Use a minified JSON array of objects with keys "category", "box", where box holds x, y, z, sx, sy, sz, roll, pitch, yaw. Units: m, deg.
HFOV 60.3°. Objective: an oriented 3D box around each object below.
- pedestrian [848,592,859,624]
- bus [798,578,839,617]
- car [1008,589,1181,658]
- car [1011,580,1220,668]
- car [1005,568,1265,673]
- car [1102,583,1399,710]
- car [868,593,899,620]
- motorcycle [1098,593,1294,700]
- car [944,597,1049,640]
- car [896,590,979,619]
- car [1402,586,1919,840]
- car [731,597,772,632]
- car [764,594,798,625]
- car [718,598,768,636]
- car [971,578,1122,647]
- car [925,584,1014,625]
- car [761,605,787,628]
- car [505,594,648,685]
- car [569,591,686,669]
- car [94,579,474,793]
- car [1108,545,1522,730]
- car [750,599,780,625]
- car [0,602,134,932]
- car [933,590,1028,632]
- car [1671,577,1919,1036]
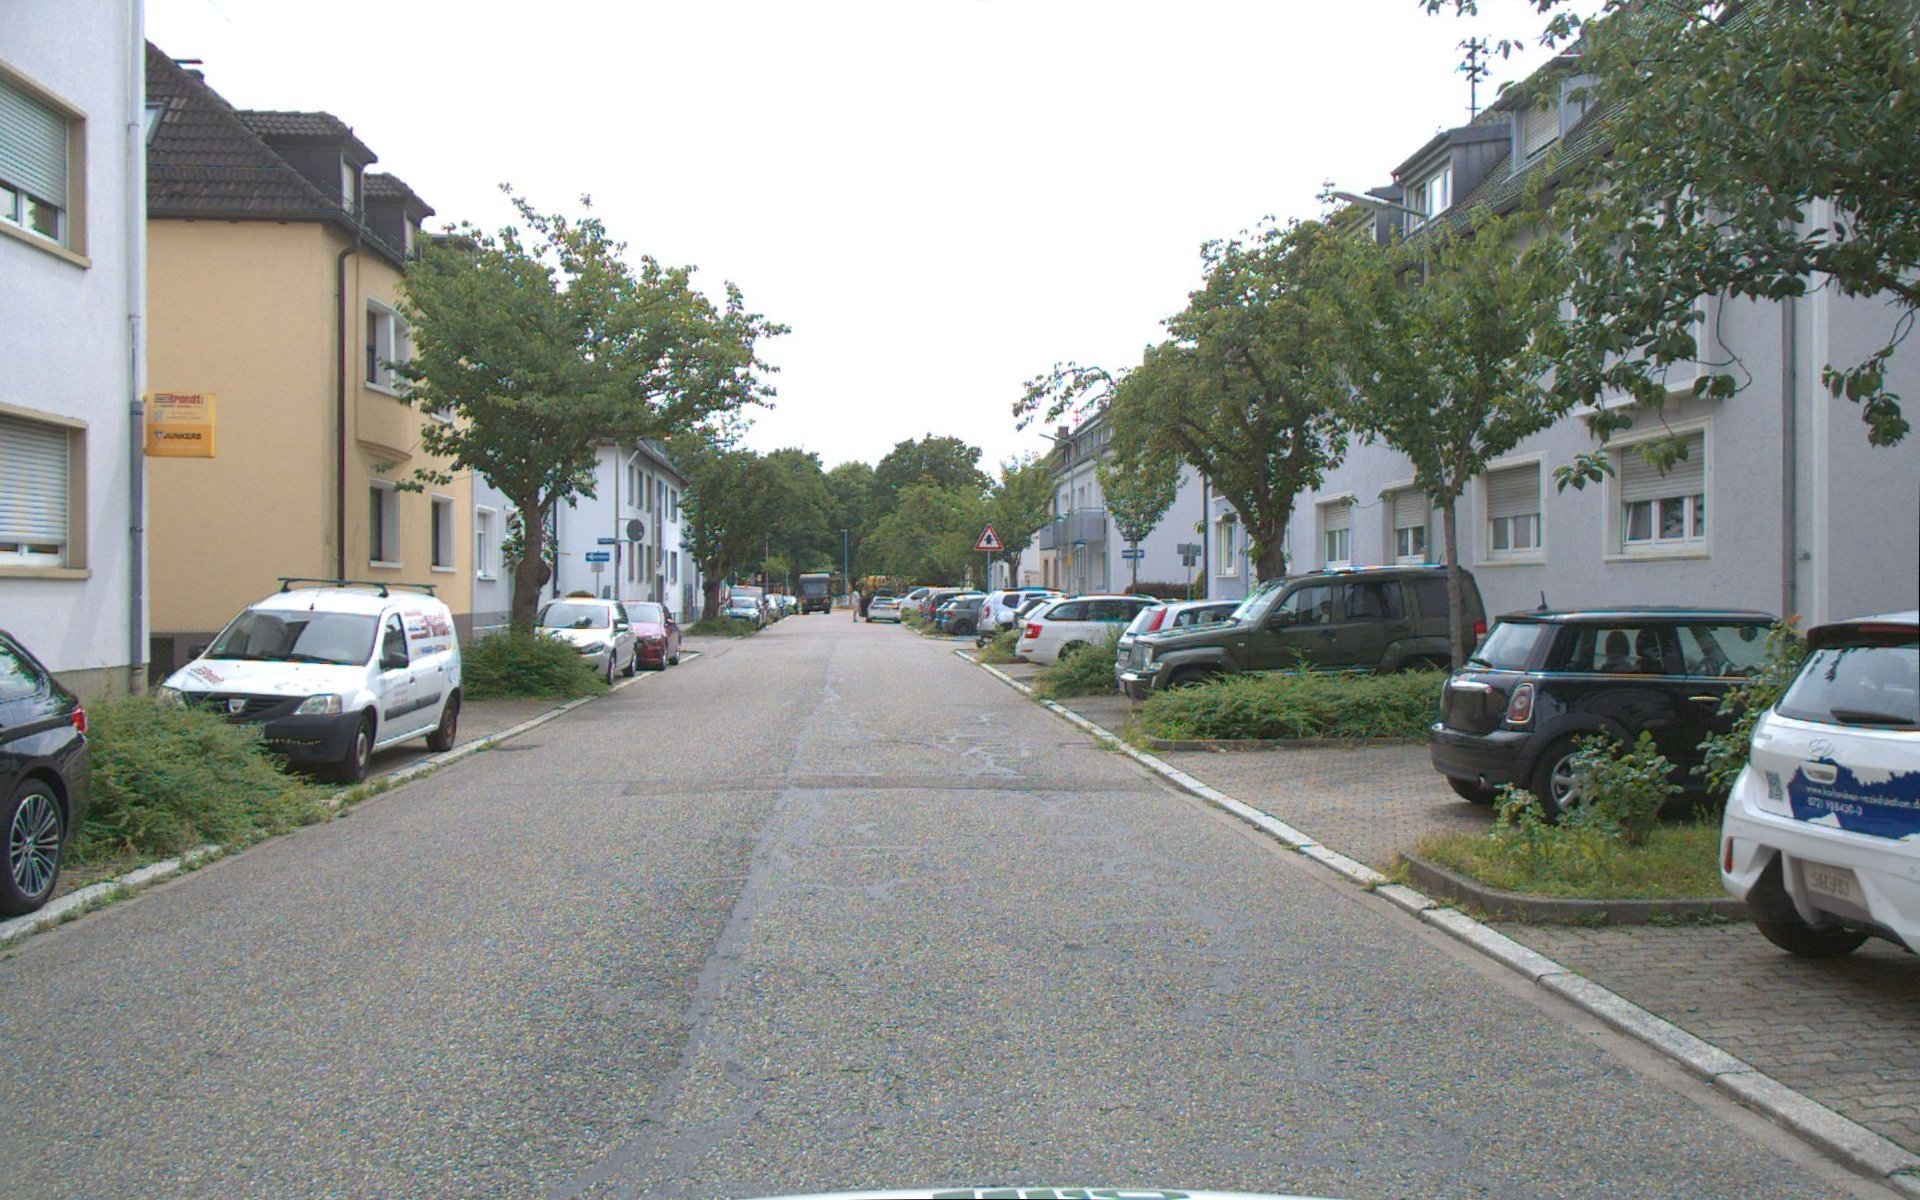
[{"category":"pedestrian","box":[-5.853,0.448,91.022,0.511,1.734,0.444,-2,0,0]},{"category":"bus","box":[-11.100,-0.184,130.607,2.945,2.809,8.917,-2,0,-4]},{"category":"car","box":[3.213,0.551,39.984,3.908,1.446,1.711,-2,0,-4]},{"category":"car","box":[3.079,0.466,33.193,3.908,1.534,1.711,-2,0,-4]},{"category":"car","box":[3.188,0.374,30.747,4.523,1.693,1.891,-2,0,-3]},{"category":"car","box":[3.877,0.600,22.380,3.557,1.480,1.770,-2,0,-8]},{"category":"car","box":[-4.253,0.346,91.907,1.653,1.378,3.824,-2,0,-3]},{"category":"motorcycle","box":[3.436,0.663,24.225,2.650,1.490,1.029,-1,0,-8]},{"category":"car","box":[1.310,0.654,60.192,3.673,1.389,1.772,-2,0,-3]},{"category":"car","box":[-1.406,0.273,100.478,4.879,1.545,1.766,-2,0,-6]},{"category":"car","box":[5.120,0.714,11.584,3.474,1.478,1.807,-2,0,-5]},{"category":"car","box":[-10.233,0.704,81.343,1.728,1.581,3.728,-2,0,-4]},{"category":"car","box":[-9.353,0.488,86.746,1.619,1.487,3.549,-2,0,-4]},{"category":"car","box":[-9.689,0.737,74.060,1.727,1.581,3.730,-2,0,-1]},{"category":"car","box":[2.286,0.325,44.627,3.846,1.661,1.867,-2,0,-3]},{"category":"car","box":[0.380,0.193,70.590,3.673,1.592,1.772,-2,0,-3]},{"category":"car","box":[-11.512,1.029,102.381,1.509,1.324,3.716,-2,0,-6]},{"category":"car","box":[-7.006,0.681,30.607,1.737,1.416,4.272,5,0,-3]},{"category":"car","box":[-7.128,0.617,35.886,1.840,1.512,4.508,-2,0,-4]},{"category":"car","box":[-6.012,0.681,15.339,1.880,1.609,4.379,-2,0,-3]},{"category":"car","box":[4.086,0.417,19.527,4.434,1.890,1.792,-2,0,-2]},{"category":"car","box":[-11.467,0.686,97.315,1.620,1.401,3.716,-2,0,-6]},{"category":"car","box":[-5.226,0.756,6.518,1.755,1.518,4.808,0,-1,-3]},{"category":"car","box":[0.759,0.404,63.051,3.448,1.437,1.557,-2,0,-4]},{"category":"car","box":[5.149,0.641,6.534,3.911,1.556,1.765,-2,0,-7]}]
